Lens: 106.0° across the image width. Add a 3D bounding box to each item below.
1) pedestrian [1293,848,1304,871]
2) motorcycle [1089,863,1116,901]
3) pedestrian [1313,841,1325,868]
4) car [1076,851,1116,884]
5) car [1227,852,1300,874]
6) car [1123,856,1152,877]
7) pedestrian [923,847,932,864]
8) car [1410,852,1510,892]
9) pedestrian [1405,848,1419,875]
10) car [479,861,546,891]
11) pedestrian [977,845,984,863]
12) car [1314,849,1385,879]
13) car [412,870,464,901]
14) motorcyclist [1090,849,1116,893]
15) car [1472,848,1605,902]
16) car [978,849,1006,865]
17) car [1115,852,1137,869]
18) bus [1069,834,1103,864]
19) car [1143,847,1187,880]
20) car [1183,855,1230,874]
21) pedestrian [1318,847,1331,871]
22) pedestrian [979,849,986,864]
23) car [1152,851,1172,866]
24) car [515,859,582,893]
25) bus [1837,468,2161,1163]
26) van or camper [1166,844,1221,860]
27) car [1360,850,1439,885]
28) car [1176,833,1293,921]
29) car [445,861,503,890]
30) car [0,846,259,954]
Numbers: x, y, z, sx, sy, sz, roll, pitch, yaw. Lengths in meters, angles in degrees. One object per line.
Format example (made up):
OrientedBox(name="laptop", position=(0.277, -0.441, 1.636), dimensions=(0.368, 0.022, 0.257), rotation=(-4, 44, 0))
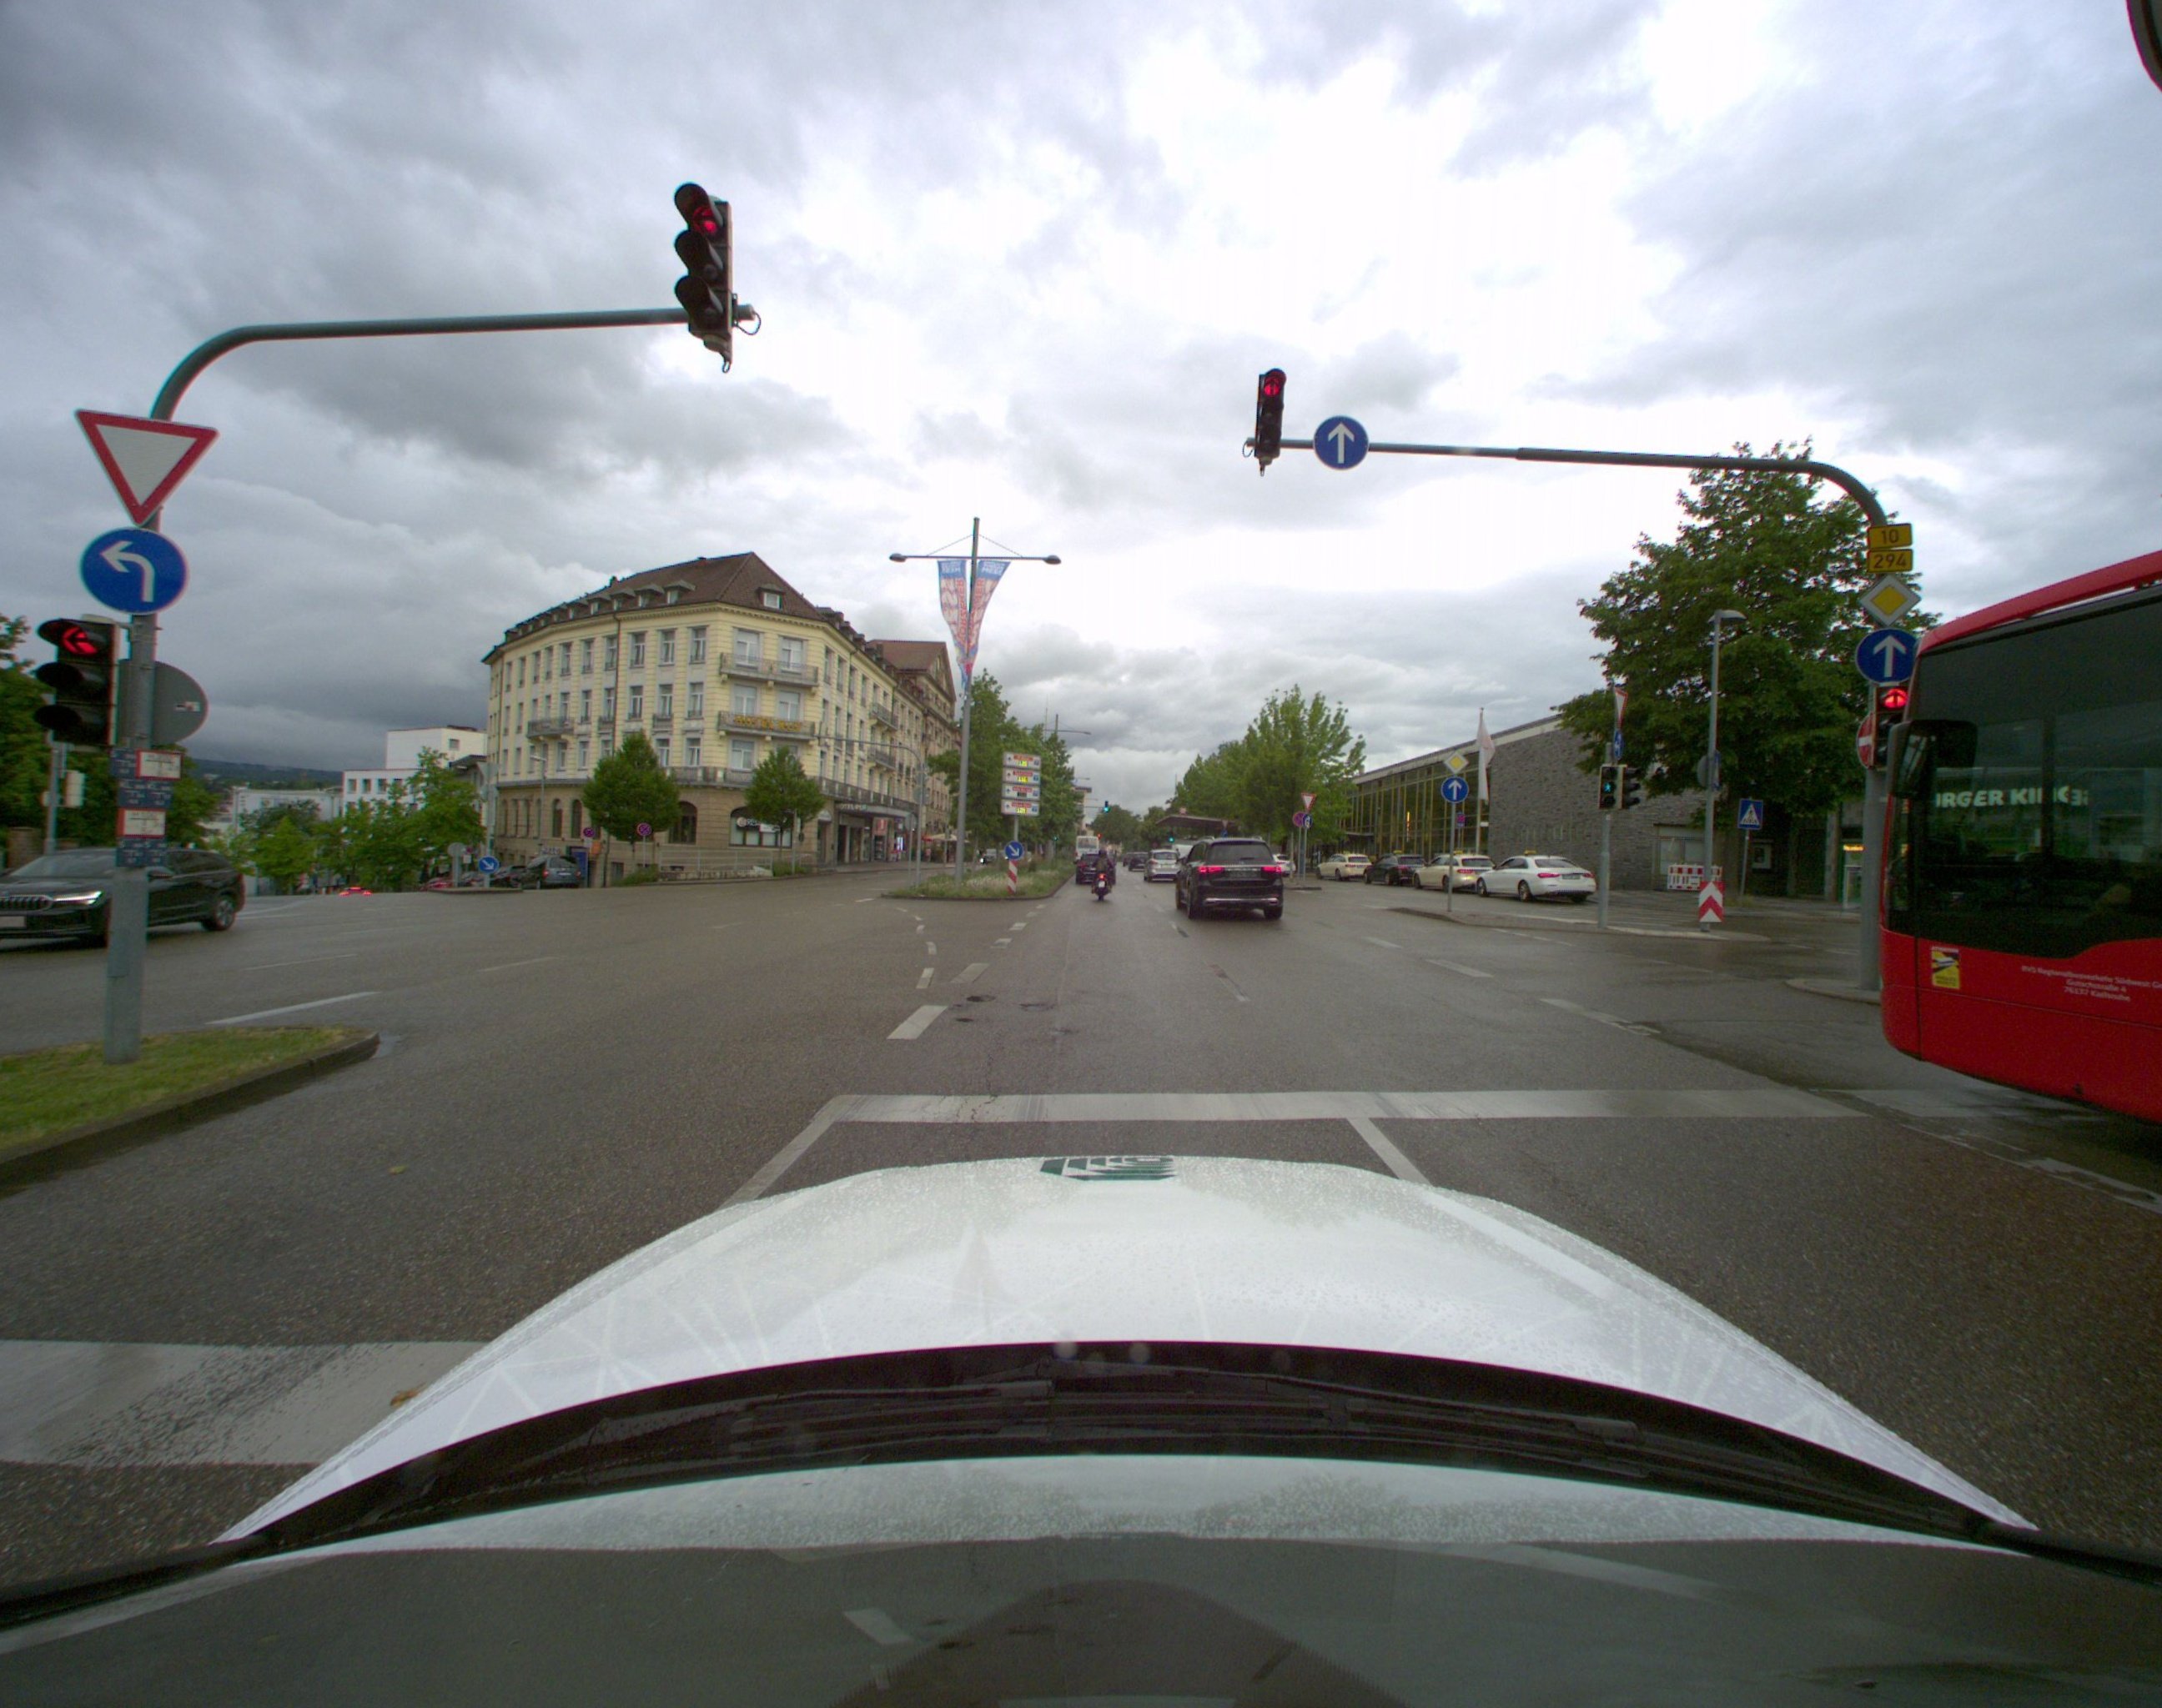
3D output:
OrientedBox(name="pedestrian", position=(18.918, 0.454, 70.908), dimensions=(0.767, 2.013, 0.828), rotation=(0, 0, -1))
OrientedBox(name="motorcycle", position=(0.666, 0.822, 24.889), dimensions=(0.763, 1.077, 2.176), rotation=(0, 0, 2))
OrientedBox(name="pedestrian", position=(21.681, 0.057, 74.123), dimensions=(0.839, 2.411, 0.863), rotation=(0, 0, 3))
OrientedBox(name="car", position=(0.708, 0.570, 36.935), dimensions=(1.702, 1.448, 4.002), rotation=(0, 0, 2))
OrientedBox(name="car", position=(11.526, 0.541, 51.620), dimensions=(1.788, 1.385, 4.318), rotation=(0, 0, -39))
OrientedBox(name="car", position=(4.311, 0.925, 62.881), dimensions=(1.806, 1.581, 3.899), rotation=(0, 0, -3))
OrientedBox(name="pedestrian", position=(-13.813, 0.167, 73.326), dimensions=(0.666, 1.510, 0.513), rotation=(0, 0, -37))
OrientedBox(name="car", position=(14.775, 0.644, 32.049), dimensions=(1.840, 1.451, 4.666), rotation=(0, 0, 0))
OrientedBox(name="pedestrian", position=(20.542, 0.459, 50.573), dimensions=(0.563, 1.646, 0.715), rotation=(0, 0, -3))
OrientedBox(name="car", position=(-31.993, 1.207, 45.807), dimensions=(3.948, 1.640, 2.013), rotation=(-1, -1, 37))
OrientedBox(name="pedestrian", position=(-11.330, 0.040, 91.708), dimensions=(0.756, 2.013, 0.832), rotation=(0, 0, -5))
OrientedBox(name="car", position=(14.660, 0.520, 44.831), dimensions=(1.990, 1.600, 4.814), rotation=(0, 0, -5))
OrientedBox(name="car", position=(-41.218, 1.965, 52.183), dimensions=(3.575, 1.812, 1.788), rotation=(0, 0, 38))
OrientedBox(name="motorcyclist", position=(0.673, 0.512, 24.830), dimensions=(0.761, 1.331, 0.867), rotation=(0, 0, 2))
OrientedBox(name="car", position=(14.641, 0.620, 26.391), dimensions=(1.768, 1.589, 4.615), rotation=(0, 0, 0))
OrientedBox(name="car", position=(-8.563, 0.279, 78.607), dimensions=(1.761, 1.530, 4.088), rotation=(0, 0, 8))
OrientedBox(name="car", position=(4.603, 0.631, 83.583), dimensions=(1.806, 1.642, 3.899), rotation=(0, 0, -3))
OrientedBox(name="bus", position=(0.575, -0.567, 97.592), dimensions=(3.748, 3.209, 15.522), rotation=(0, 0, 0))
OrientedBox(name="car", position=(4.099, 0.448, 40.205), dimensions=(1.844, 1.567, 4.002), rotation=(0, 0, 2))
OrientedBox(name="car", position=(12.766, 1.097, 82.874), dimensions=(4.348, 1.857, 1.988), rotation=(0, 0, -18))
OrientedBox(name="pedestrian", position=(20.029, 0.423, 66.985), dimensions=(0.767, 2.013, 0.828), rotation=(0, 0, -1))
OrientedBox(name="pedestrian", position=(-11.045, 0.316, 91.774), dimensions=(0.672, 1.701, 0.634), rotation=(-1, 0, 1))
OrientedBox(name="car", position=(8.502, 0.450, 86.106), dimensions=(1.809, 1.530, 4.002), rotation=(0, 0, 2))
OrientedBox(name="car", position=(-27.120, 1.085, 41.470), dimensions=(3.949, 1.568, 1.812), rotation=(0, 0, 41))
OrientedBox(name="bus", position=(6.194, -0.167, 0.253), dimensions=(2.732, 3.174, 10.199), rotation=(0, 0, 2))
OrientedBox(name="van or camper", position=(14.347, -0.280, 103.516), dimensions=(6.787, 2.014, 2.366), rotation=(0, -1, -25))
OrientedBox(name="car", position=(14.869, 0.591, 38.337), dimensions=(1.907, 1.524, 4.741), rotation=(0, 0, 0))
OrientedBox(name="car", position=(3.406, 0.456, 19.022), dimensions=(1.986, 1.806, 4.691), rotation=(0, 0, 2))
OrientedBox(name="car", position=(-36.338, 1.267, 48.725), dimensions=(3.864, 1.640, 1.805), rotation=(0, 0, 37))
OrientedBox(name="car", position=(-17.219, 0.699, 14.564), dimensions=(1.829, 1.640, 4.566), rotation=(1, 0, -22))
